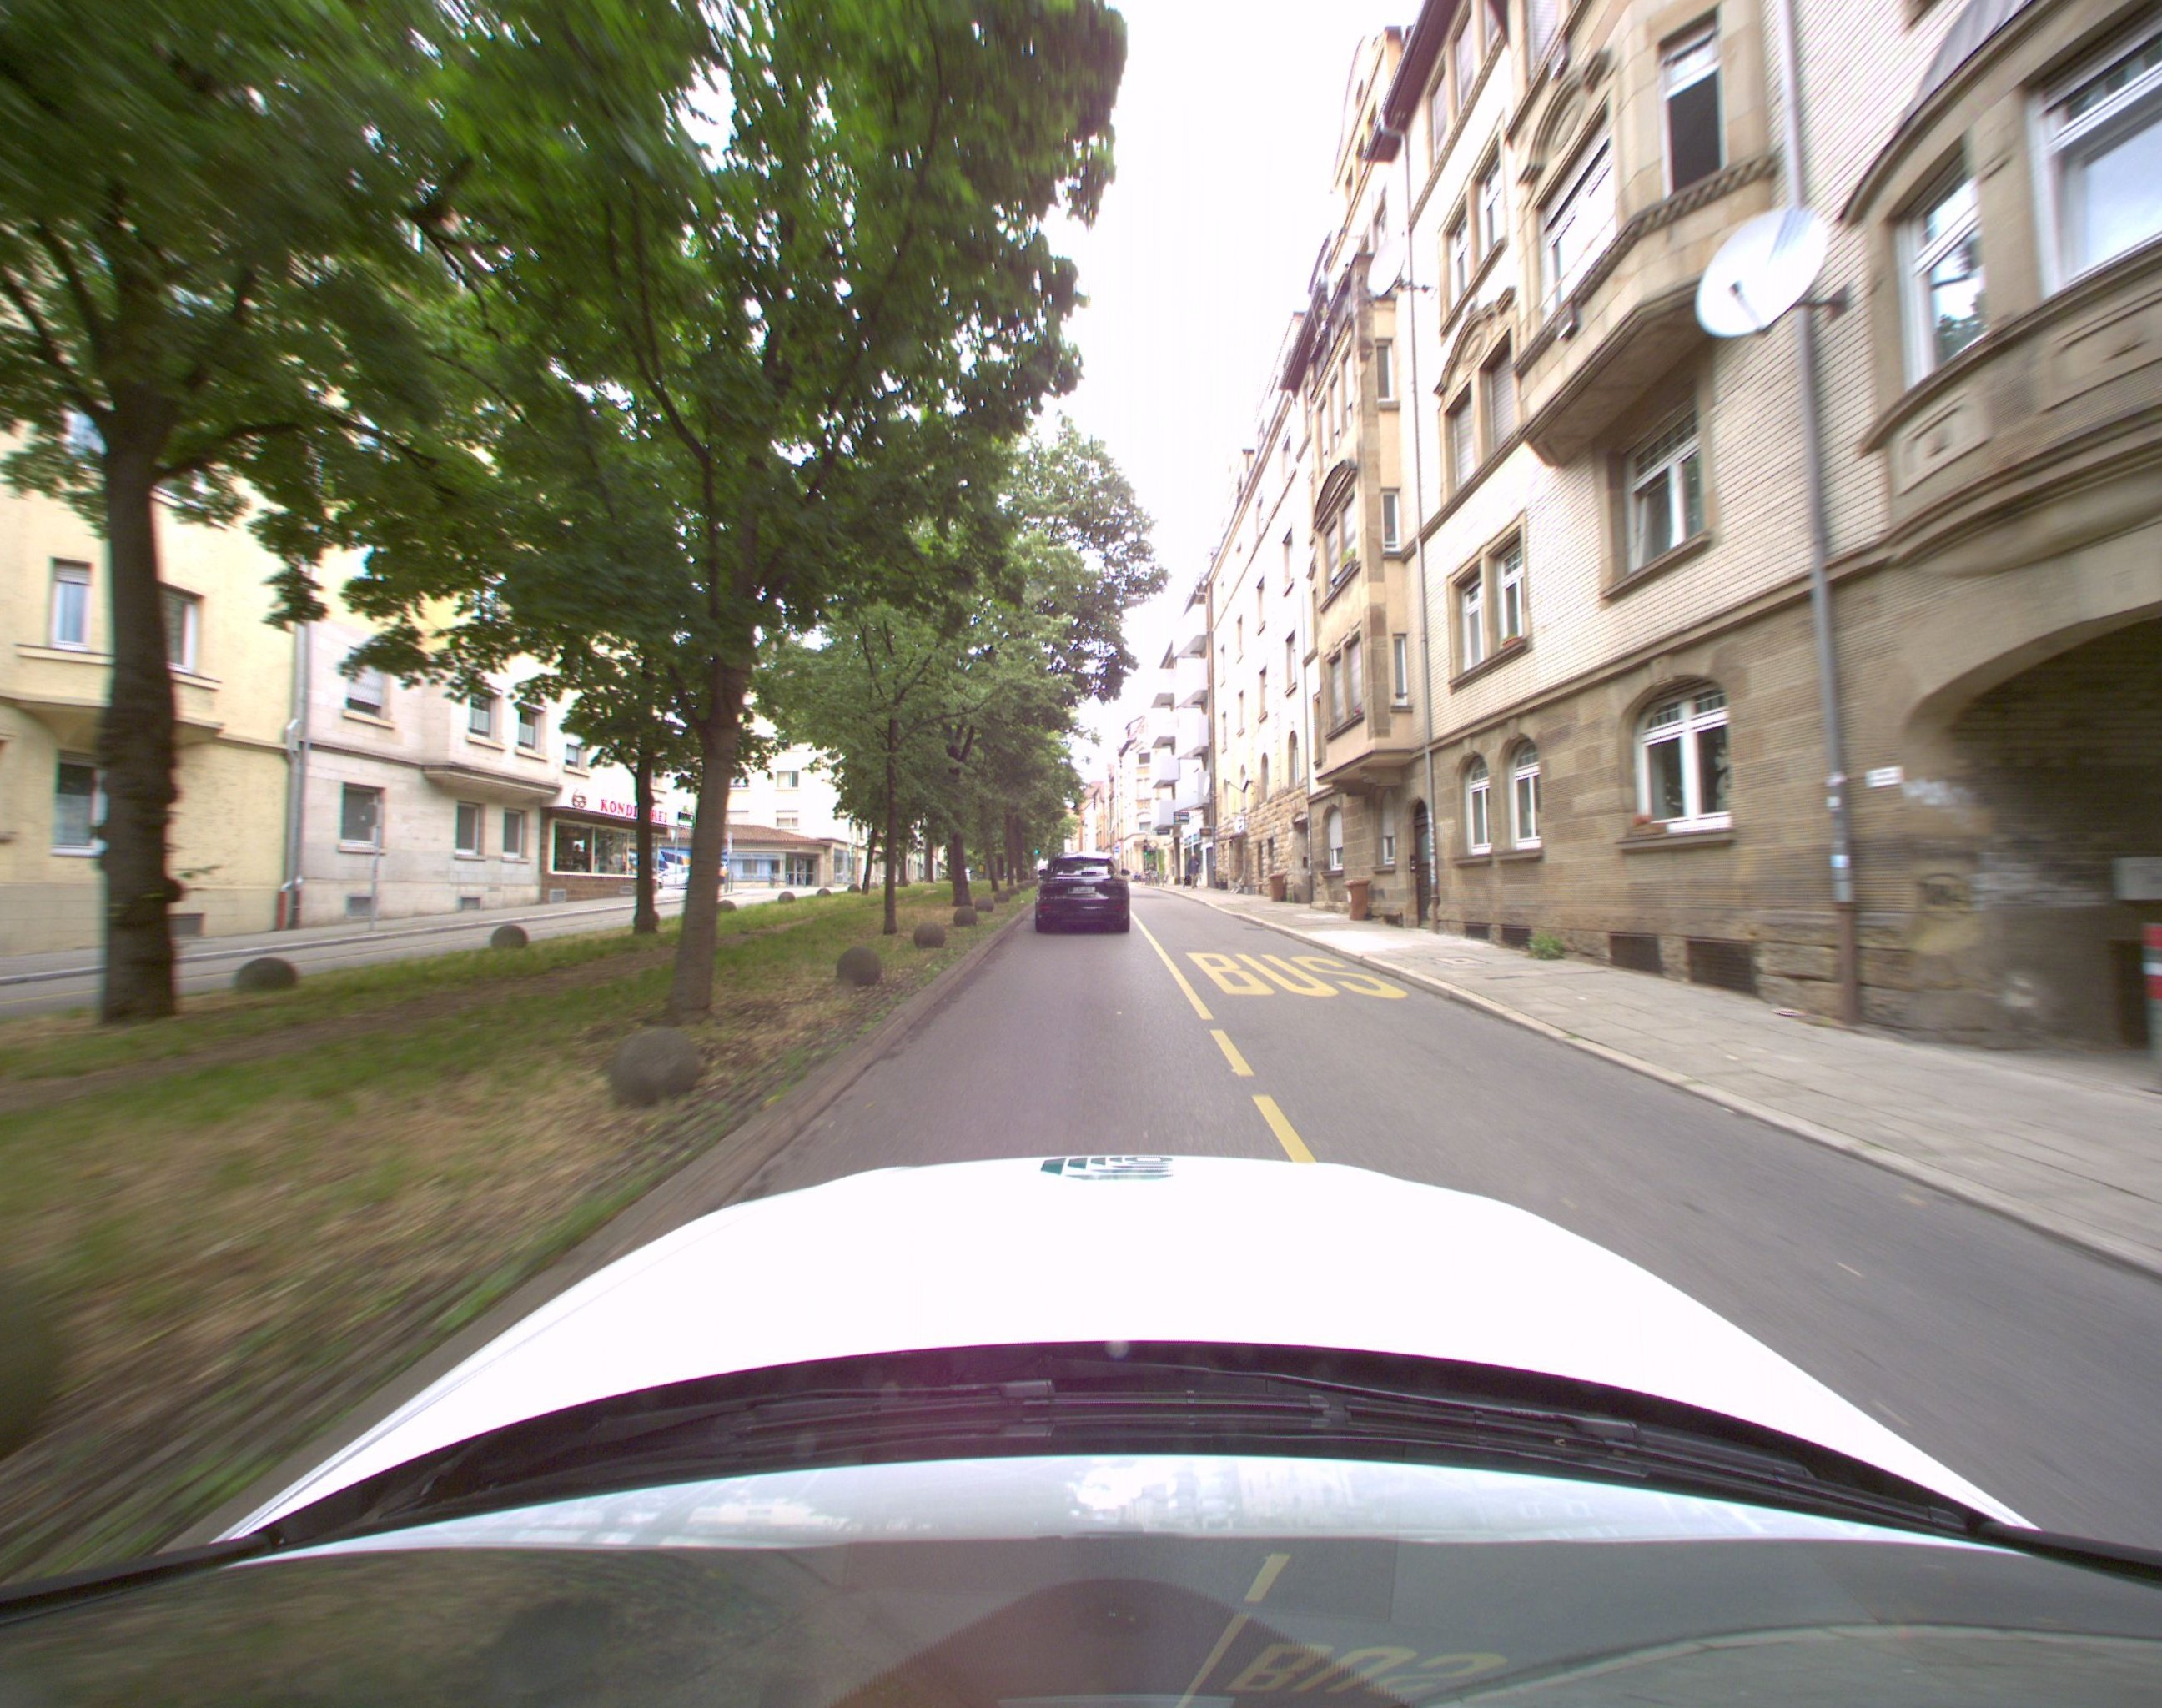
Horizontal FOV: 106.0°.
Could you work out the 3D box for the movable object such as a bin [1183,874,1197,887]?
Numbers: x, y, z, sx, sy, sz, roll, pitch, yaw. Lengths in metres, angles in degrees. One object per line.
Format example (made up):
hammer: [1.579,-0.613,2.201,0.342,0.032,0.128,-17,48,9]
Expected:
movable object such as a bin: [5.655,1.381,42.113,0.605,0.669,0.858,-1,-2,0]

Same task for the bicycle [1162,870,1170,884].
bicycle: [7.977,2.195,76.657,0.445,1.161,1.833,-1,3,-3]

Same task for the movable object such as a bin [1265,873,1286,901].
movable object such as a bin: [6.524,1.118,27.314,0.592,0.904,0.503,0,-5,1]

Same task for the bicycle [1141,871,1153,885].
bicycle: [4.576,1.653,56.353,0.286,0.931,1.752,1,-2,-14]

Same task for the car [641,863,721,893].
car: [-24.032,1.437,48.938,4.057,1.479,1.802,-3,-1,-34]

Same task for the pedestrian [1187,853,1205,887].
pedestrian: [5.805,0.839,41.268,0.749,1.693,0.858,-1,-2,0]

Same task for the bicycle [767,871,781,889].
bicycle: [-19.536,1.657,51.841,0.765,1.085,2.021,2,-3,-23]

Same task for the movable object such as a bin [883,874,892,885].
movable object such as a bin: [-19.084,2.534,80.367,0.691,1.060,0.688,0,-3,-6]

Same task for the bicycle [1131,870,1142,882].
bicycle: [5.352,2.167,78.760,0.876,1.129,2.977,0,-2,-1]

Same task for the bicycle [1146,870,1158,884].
bicycle: [4.640,1.502,53.363,0.567,0.931,1.773,0,-2,-1]

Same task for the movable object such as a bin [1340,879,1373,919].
movable object such as a bin: [6.366,1.033,18.829,0.592,0.904,0.563,0,-1,1]

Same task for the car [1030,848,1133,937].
car: [0.060,0.747,18.114,1.986,1.665,4.002,2,1,1]

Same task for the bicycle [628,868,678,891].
bicycle: [-20.991,1.237,39.964,2.429,1.046,0.873,0,-2,26]

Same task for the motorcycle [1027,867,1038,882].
motorcycle: [-4.715,2.015,79.344,1.017,1.446,2.245,-2,-2,-1]

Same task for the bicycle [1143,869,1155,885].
bicycle: [4.753,1.604,56.677,0.286,1.054,1.752,1,-2,-14]

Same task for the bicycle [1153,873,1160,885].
bicycle: [7.107,2.359,77.018,0.348,1.059,1.832,2,-1,-3]
